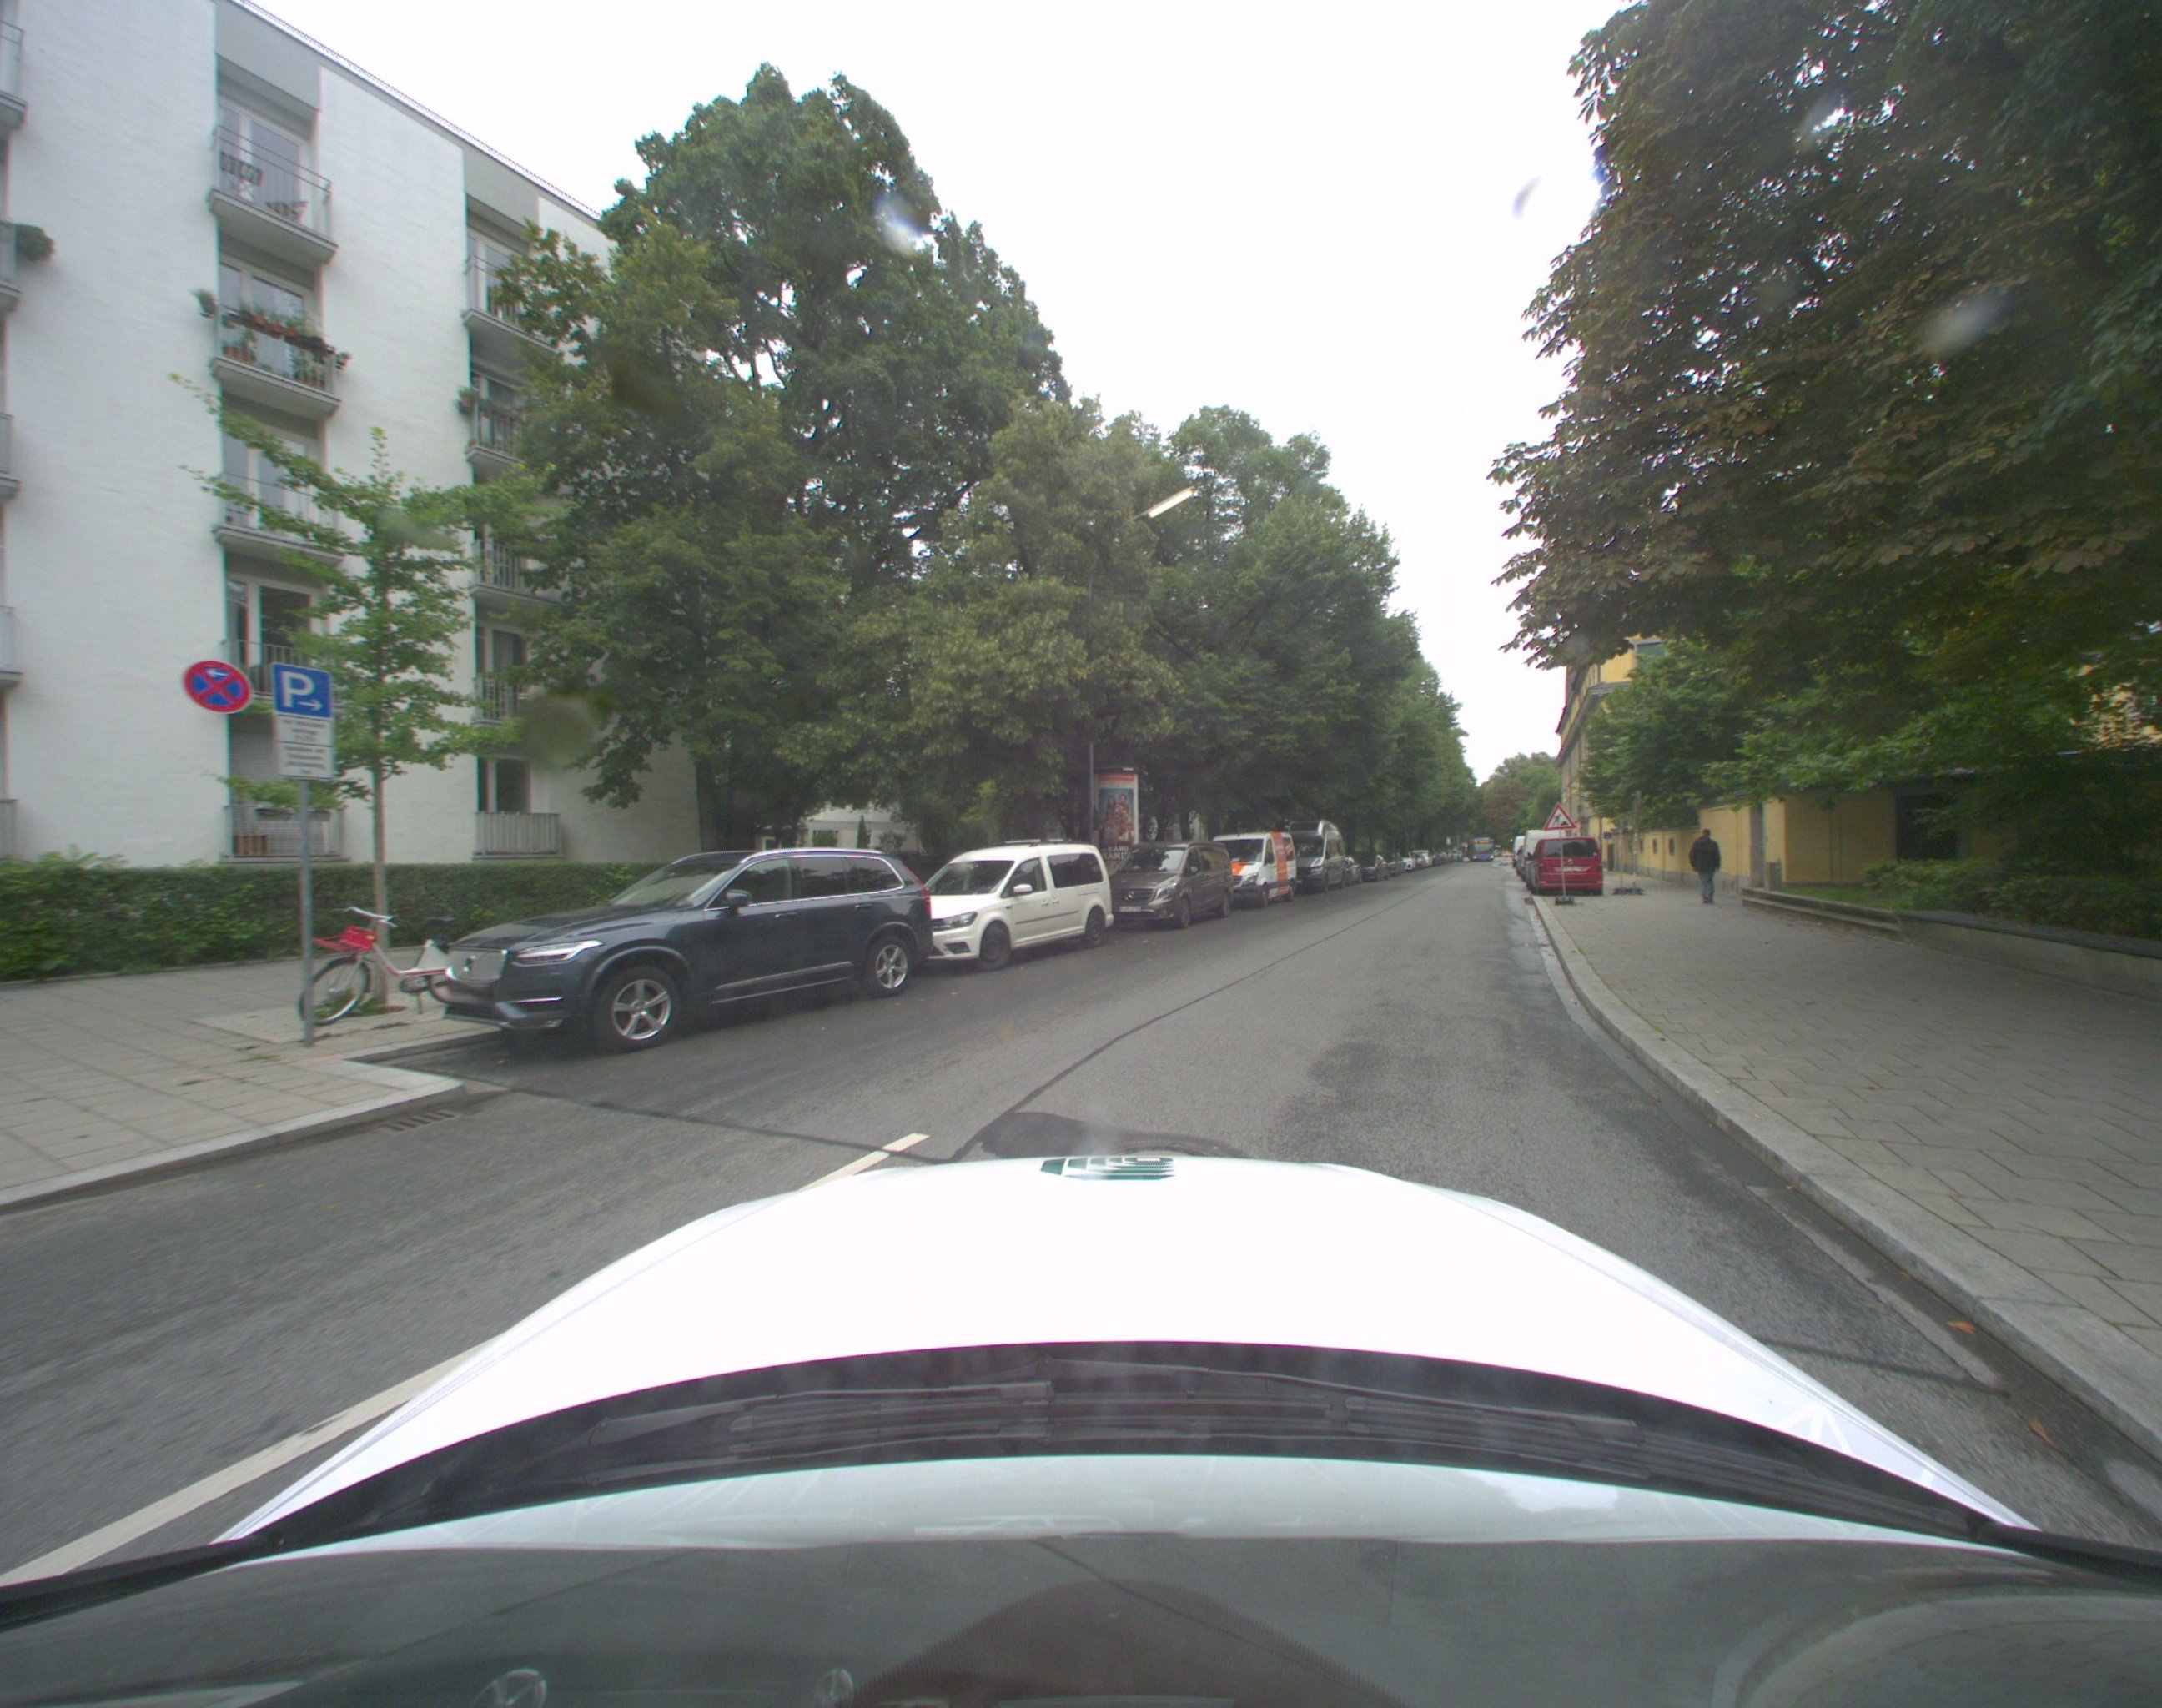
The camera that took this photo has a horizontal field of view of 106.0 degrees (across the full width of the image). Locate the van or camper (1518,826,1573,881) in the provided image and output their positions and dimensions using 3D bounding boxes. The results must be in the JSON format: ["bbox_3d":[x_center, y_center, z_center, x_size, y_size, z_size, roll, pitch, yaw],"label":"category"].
[{"bbox_3d":[23.485,-0.014,41.318,2.112,2.546,5.274,-2,-1,27],"label":"van or camper"}]

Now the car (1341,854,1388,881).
[{"bbox_3d":[15.297,0.692,43.818,1.857,1.347,4.024,-1,0,27],"label":"car"}]

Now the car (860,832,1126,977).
[{"bbox_3d":[-1.158,0.676,13.292,1.812,1.918,4.878,-2,-1,28],"label":"car"}]

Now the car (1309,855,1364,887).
[{"bbox_3d":[12.303,0.765,39.080,1.857,1.416,4.024,-1,0,27],"label":"car"}]

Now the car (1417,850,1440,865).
[{"bbox_3d":[34.850,0.302,81.705,1.835,1.473,4.024,-1,0,27],"label":"car"}]

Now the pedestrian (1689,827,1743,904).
[{"bbox_3d":[15.695,0.271,20.170,0.865,1.831,1.058,-1,0,28],"label":"pedestrian"}]

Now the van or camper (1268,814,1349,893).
[{"bbox_3d":[9.529,-0.013,33.737,1.982,2.945,6.046,-2,-1,27],"label":"van or camper"}]

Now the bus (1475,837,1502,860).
[{"bbox_3d":[55.084,-0.693,109.955,2.687,2.899,14.643,-1,0,29],"label":"bus"}]

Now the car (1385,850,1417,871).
[{"bbox_3d":[24.219,0.471,61.519,1.835,1.473,4.024,-1,0,27],"label":"car"}]

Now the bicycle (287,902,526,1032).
[{"bbox_3d":[-6.756,1.071,8.291,0.486,1.049,1.841,-1,0,23],"label":"bicycle"}]

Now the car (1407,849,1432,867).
[{"bbox_3d":[31.475,0.355,75.690,1.835,1.564,4.024,-1,0,27],"label":"car"}]

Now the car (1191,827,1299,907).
[{"bbox_3d":[5.305,0.381,25.784,1.928,2.272,5.274,-2,-1,27],"label":"car"}]

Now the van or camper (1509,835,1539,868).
[{"bbox_3d":[38.070,-0.217,70.039,2.095,2.733,5.274,-2,-1,27],"label":"van or camper"}]

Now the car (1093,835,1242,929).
[{"bbox_3d":[2.241,0.591,19.457,1.870,1.933,5.238,-2,-1,25],"label":"car"}]

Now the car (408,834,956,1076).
[{"bbox_3d":[-3.683,0.758,8.659,1.974,1.792,4.943,-2,-1,29],"label":"car"}]

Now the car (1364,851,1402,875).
[{"bbox_3d":[19.180,0.558,51.602,1.835,1.473,4.024,-1,0,26],"label":"car"}]

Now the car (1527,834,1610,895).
[{"bbox_3d":[16.234,0.334,27.345,1.972,1.839,4.741,-2,-1,26],"label":"car"}]
